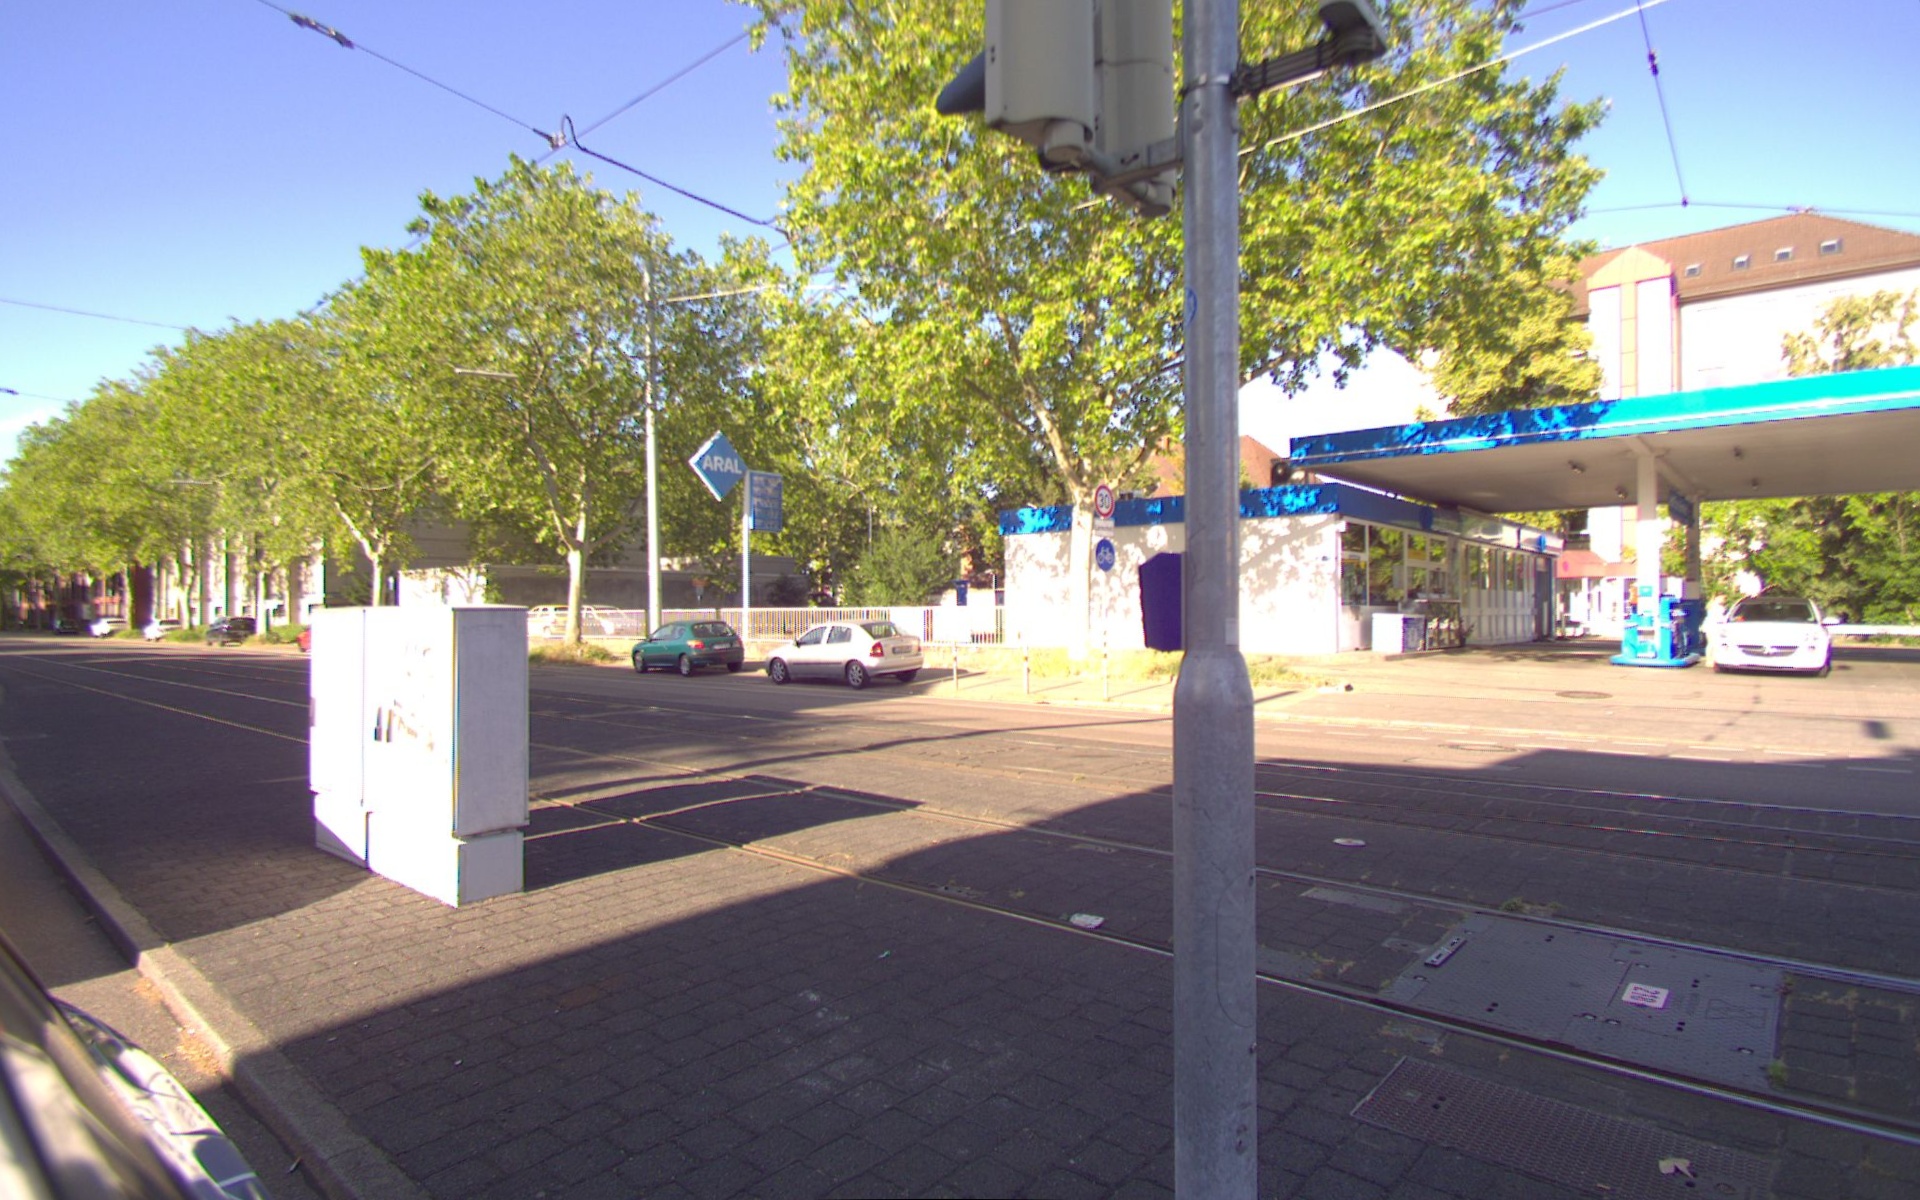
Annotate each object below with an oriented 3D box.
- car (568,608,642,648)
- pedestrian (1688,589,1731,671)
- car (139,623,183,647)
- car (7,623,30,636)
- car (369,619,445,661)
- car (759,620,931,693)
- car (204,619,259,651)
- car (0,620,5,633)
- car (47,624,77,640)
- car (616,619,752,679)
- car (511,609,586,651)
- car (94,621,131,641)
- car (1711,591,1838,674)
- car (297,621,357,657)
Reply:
[{"bbox_3d":[-15.261,1.189,43.443,3.303,1.604,1.579,-1,0,41],"label":"car"},{"bbox_3d":[15.956,0.641,21.554,0.493,1.714,0.649,1,-2,-45],"label":"pedestrian"},{"bbox_3d":[-53.855,2.331,68.176,3.748,1.459,1.674,-1,1,41],"label":"car"},{"bbox_3d":[-112.130,3.544,120.506,3.748,1.459,1.674,-1,1,41],"label":"car"},{"bbox_3d":[-21.872,1.551,39.998,3.303,1.519,1.579,-1,1,41],"label":"car"},{"bbox_3d":[-2.633,1.201,22.638,3.812,1.413,1.674,-1,1,41],"label":"car"},{"bbox_3d":[-40.671,1.930,56.450,3.748,1.670,1.674,-1,1,41],"label":"car"},{"bbox_3d":[-133.921,3.656,140.474,3.748,1.798,1.674,-1,1,41],"label":"car"},{"bbox_3d":[-85.232,3.014,96.043,3.748,1.459,1.674,-1,1,41],"label":"car"},{"bbox_3d":[-7.397,1.261,26.966,3.748,1.413,1.674,-1,1,41],"label":"car"},{"bbox_3d":[-17.080,1.224,41.966,3.303,1.628,1.579,-1,0,41],"label":"car"},{"bbox_3d":[-66.672,2.433,79.605,3.748,1.459,1.674,-1,1,41],"label":"car"},{"bbox_3d":[15.889,0.608,19.690,1.757,1.453,3.521,-1,-1,41],"label":"car"},{"bbox_3d":[-28.681,1.748,45.826,2.621,1.519,1.579,-1,1,41],"label":"car"}]
